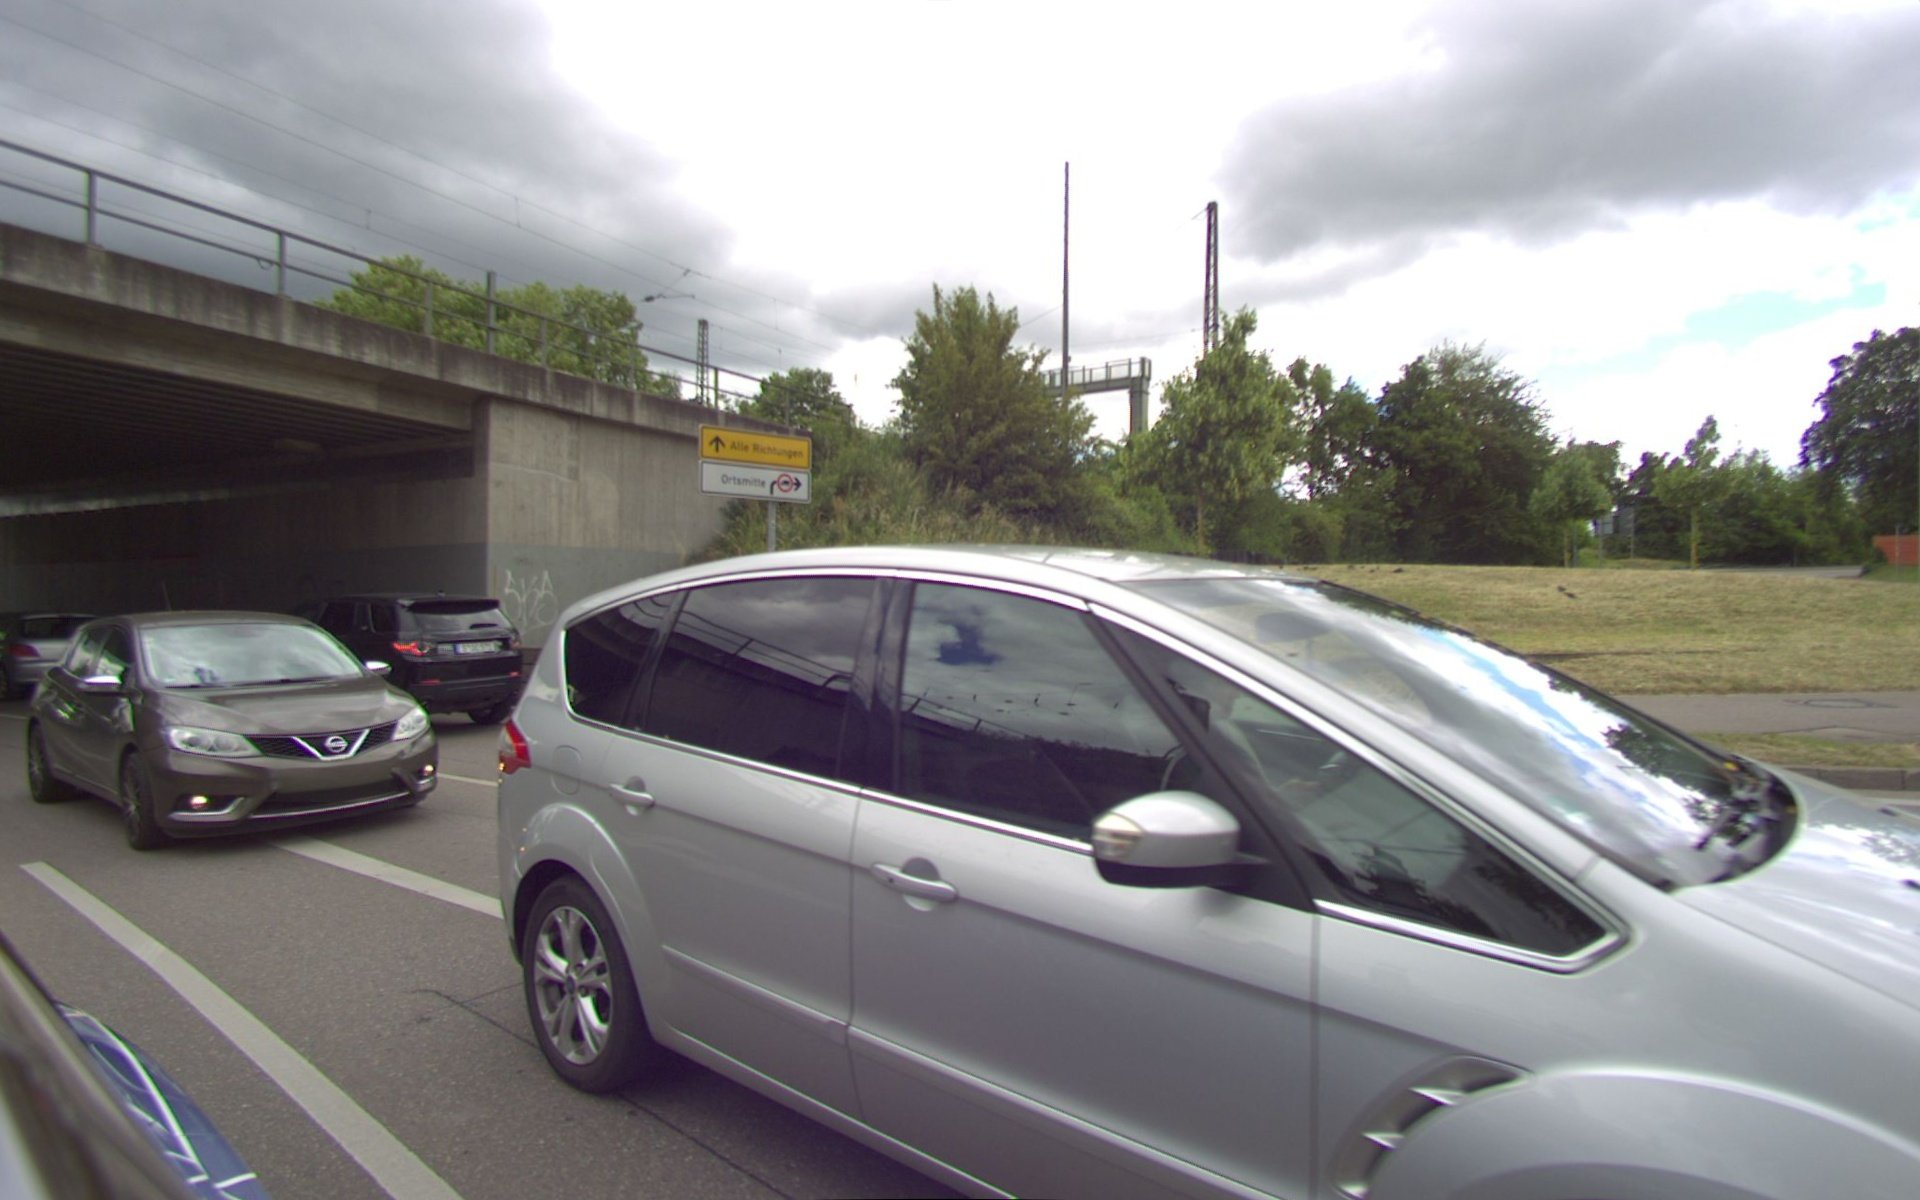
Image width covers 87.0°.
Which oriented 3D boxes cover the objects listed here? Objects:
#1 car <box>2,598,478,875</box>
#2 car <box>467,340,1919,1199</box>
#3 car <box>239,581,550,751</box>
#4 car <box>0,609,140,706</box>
[{"bbox_3d":[-5.617,0.823,7.704,4.246,1.545,1.738,-2,0,37],"label":"car"},{"bbox_3d":[0.625,0.575,2.601,4.510,1.651,1.806,-2,0,42],"label":"car"},{"bbox_3d":[-7.177,0.736,12.721,3.993,1.804,1.942,-2,0,37],"label":"car"},{"bbox_3d":[-16.618,0.989,18.097,3.871,1.525,1.742,-2,0,30],"label":"car"}]
